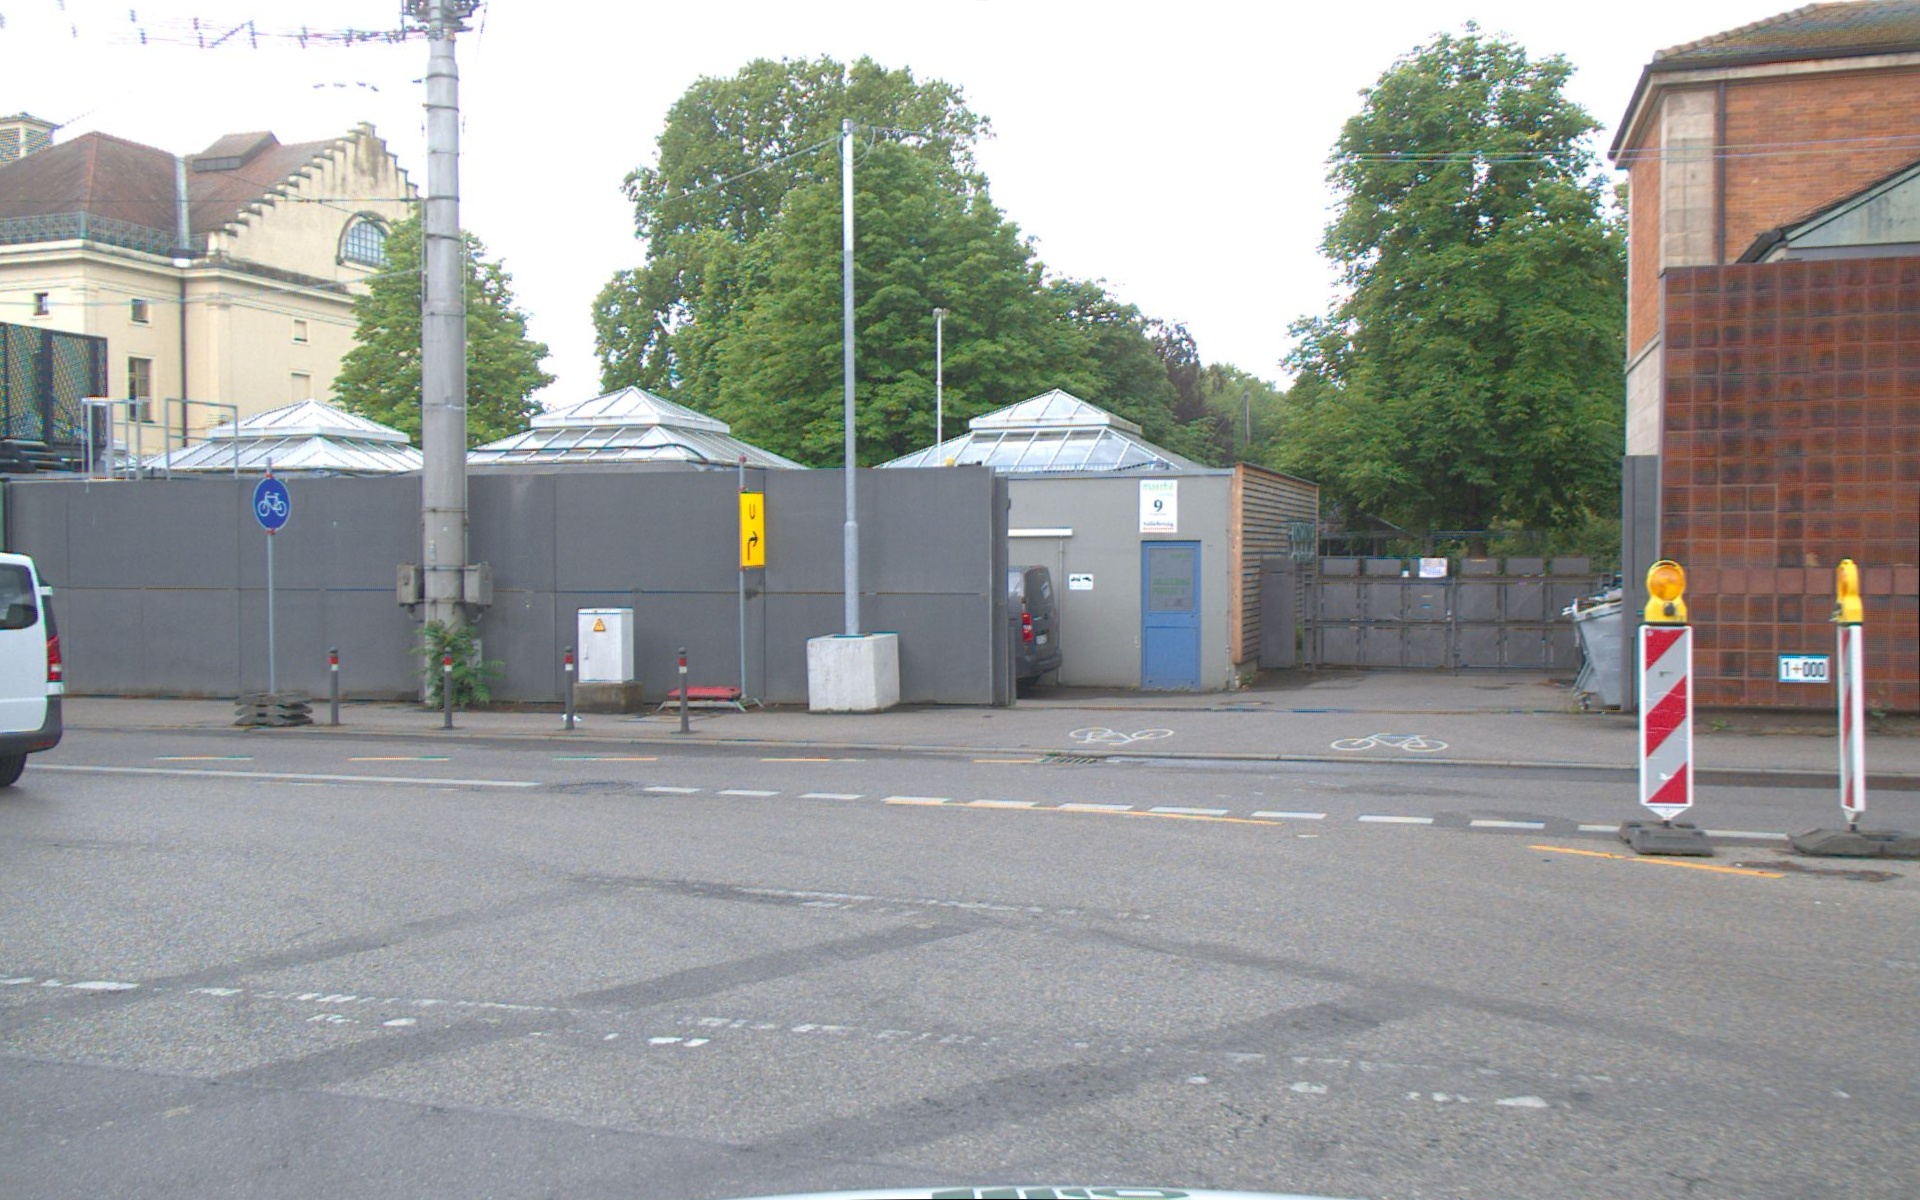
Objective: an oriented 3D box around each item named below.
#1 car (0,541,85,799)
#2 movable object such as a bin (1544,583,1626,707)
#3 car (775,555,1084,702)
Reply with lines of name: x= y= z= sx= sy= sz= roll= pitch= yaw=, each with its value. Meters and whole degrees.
car: x=-9.264 y=0.527 z=13.427 sx=4.604 sy=1.935 sz=1.917 roll=0 pitch=0 yaw=34
movable object such as a bin: x=7.081 y=0.496 z=18.770 sx=0.830 sy=1.364 sz=0.801 roll=-1 pitch=0 yaw=19
car: x=-0.443 y=0.384 z=25.653 sx=4.350 sy=2.121 sz=2.106 roll=1 pitch=0 yaw=17
